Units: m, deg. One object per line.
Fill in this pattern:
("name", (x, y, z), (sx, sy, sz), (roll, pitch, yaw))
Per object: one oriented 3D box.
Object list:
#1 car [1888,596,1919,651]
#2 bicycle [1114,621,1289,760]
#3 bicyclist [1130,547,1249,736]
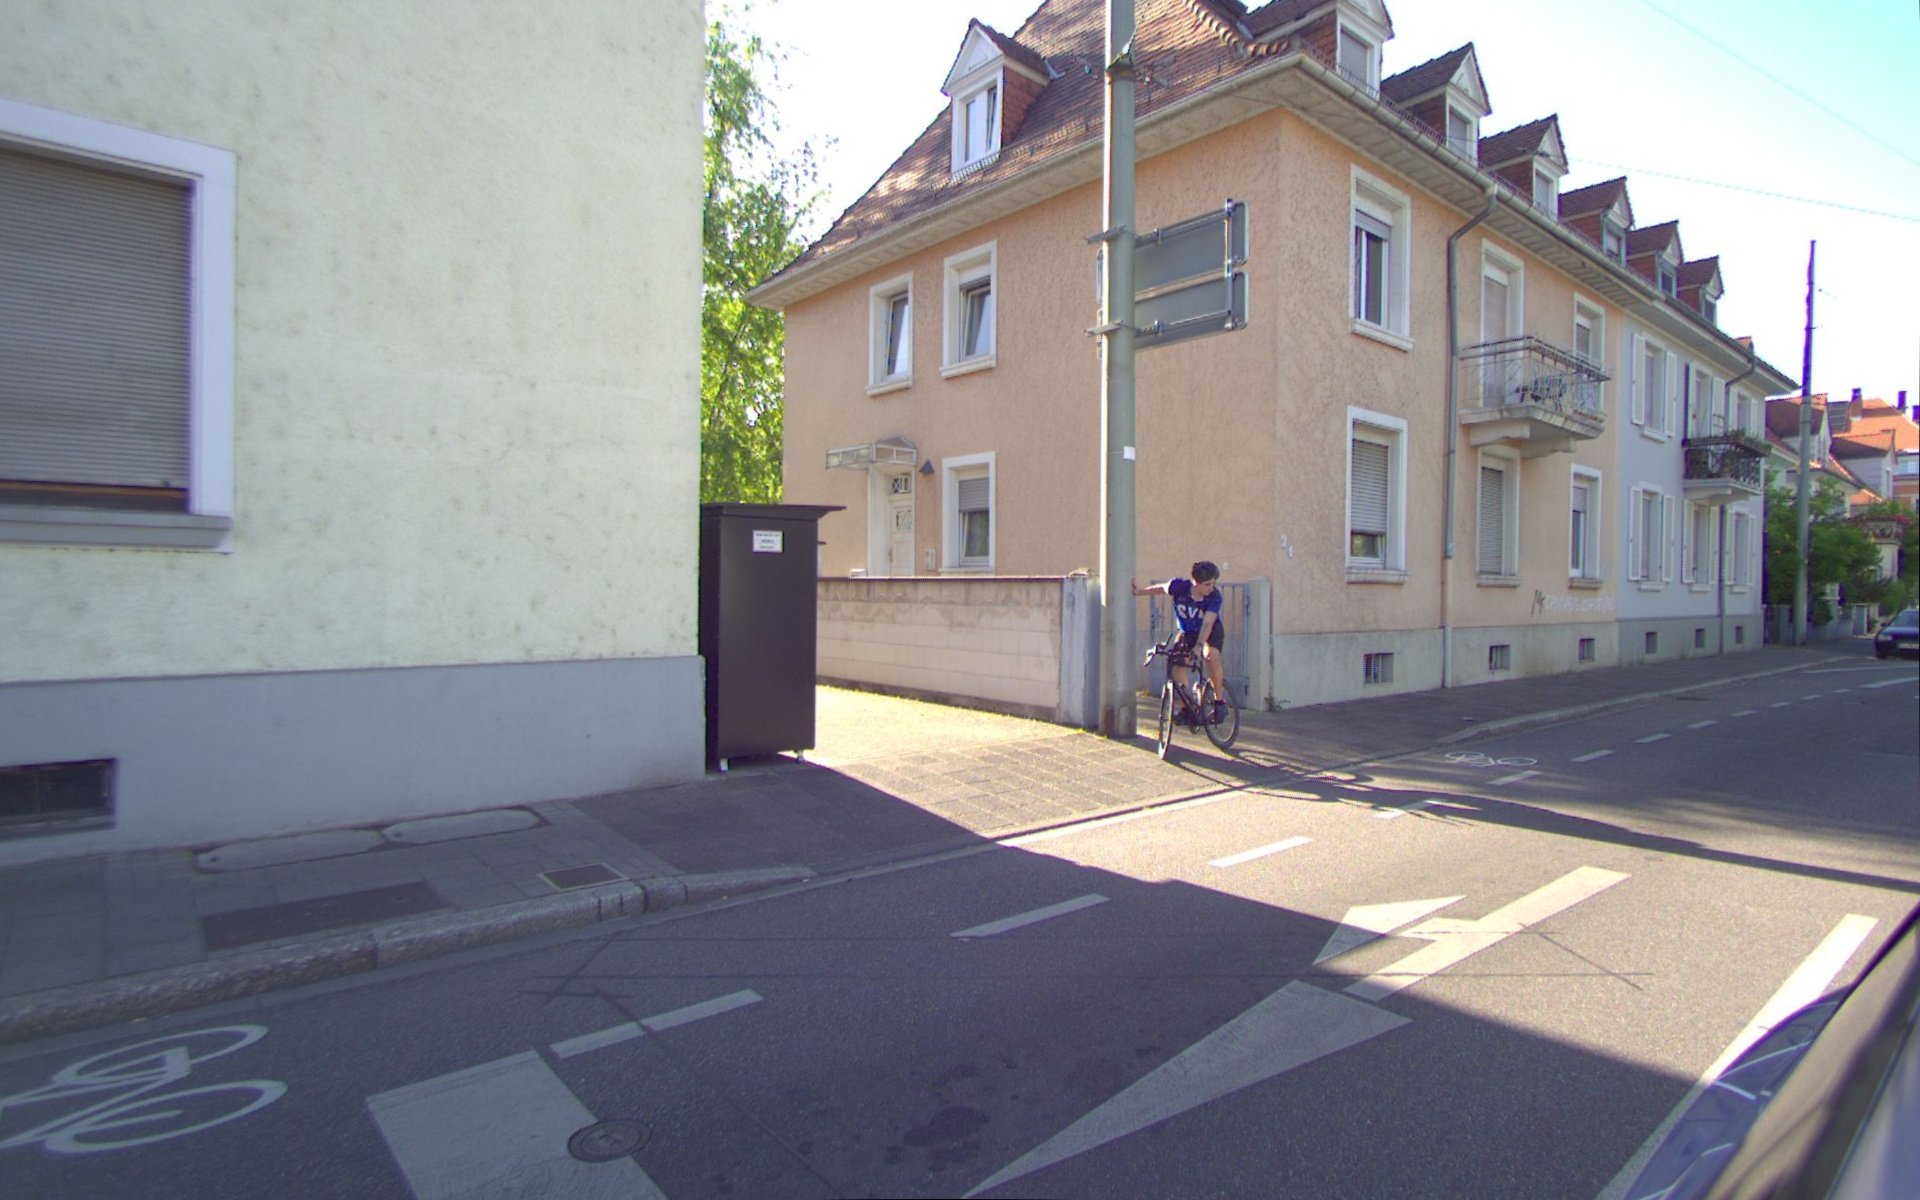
("car", (26.723, 0.623, 27.403), (4.347, 1.425, 1.866), (0, 1, -41))
("bicycle", (2.245, 0.780, 9.294), (1.763, 1.074, 0.551), (0, 6, -41))
("bicyclist", (2.113, 0.354, 9.286), (0.998, 1.637, 0.562), (0, 1, -40))
